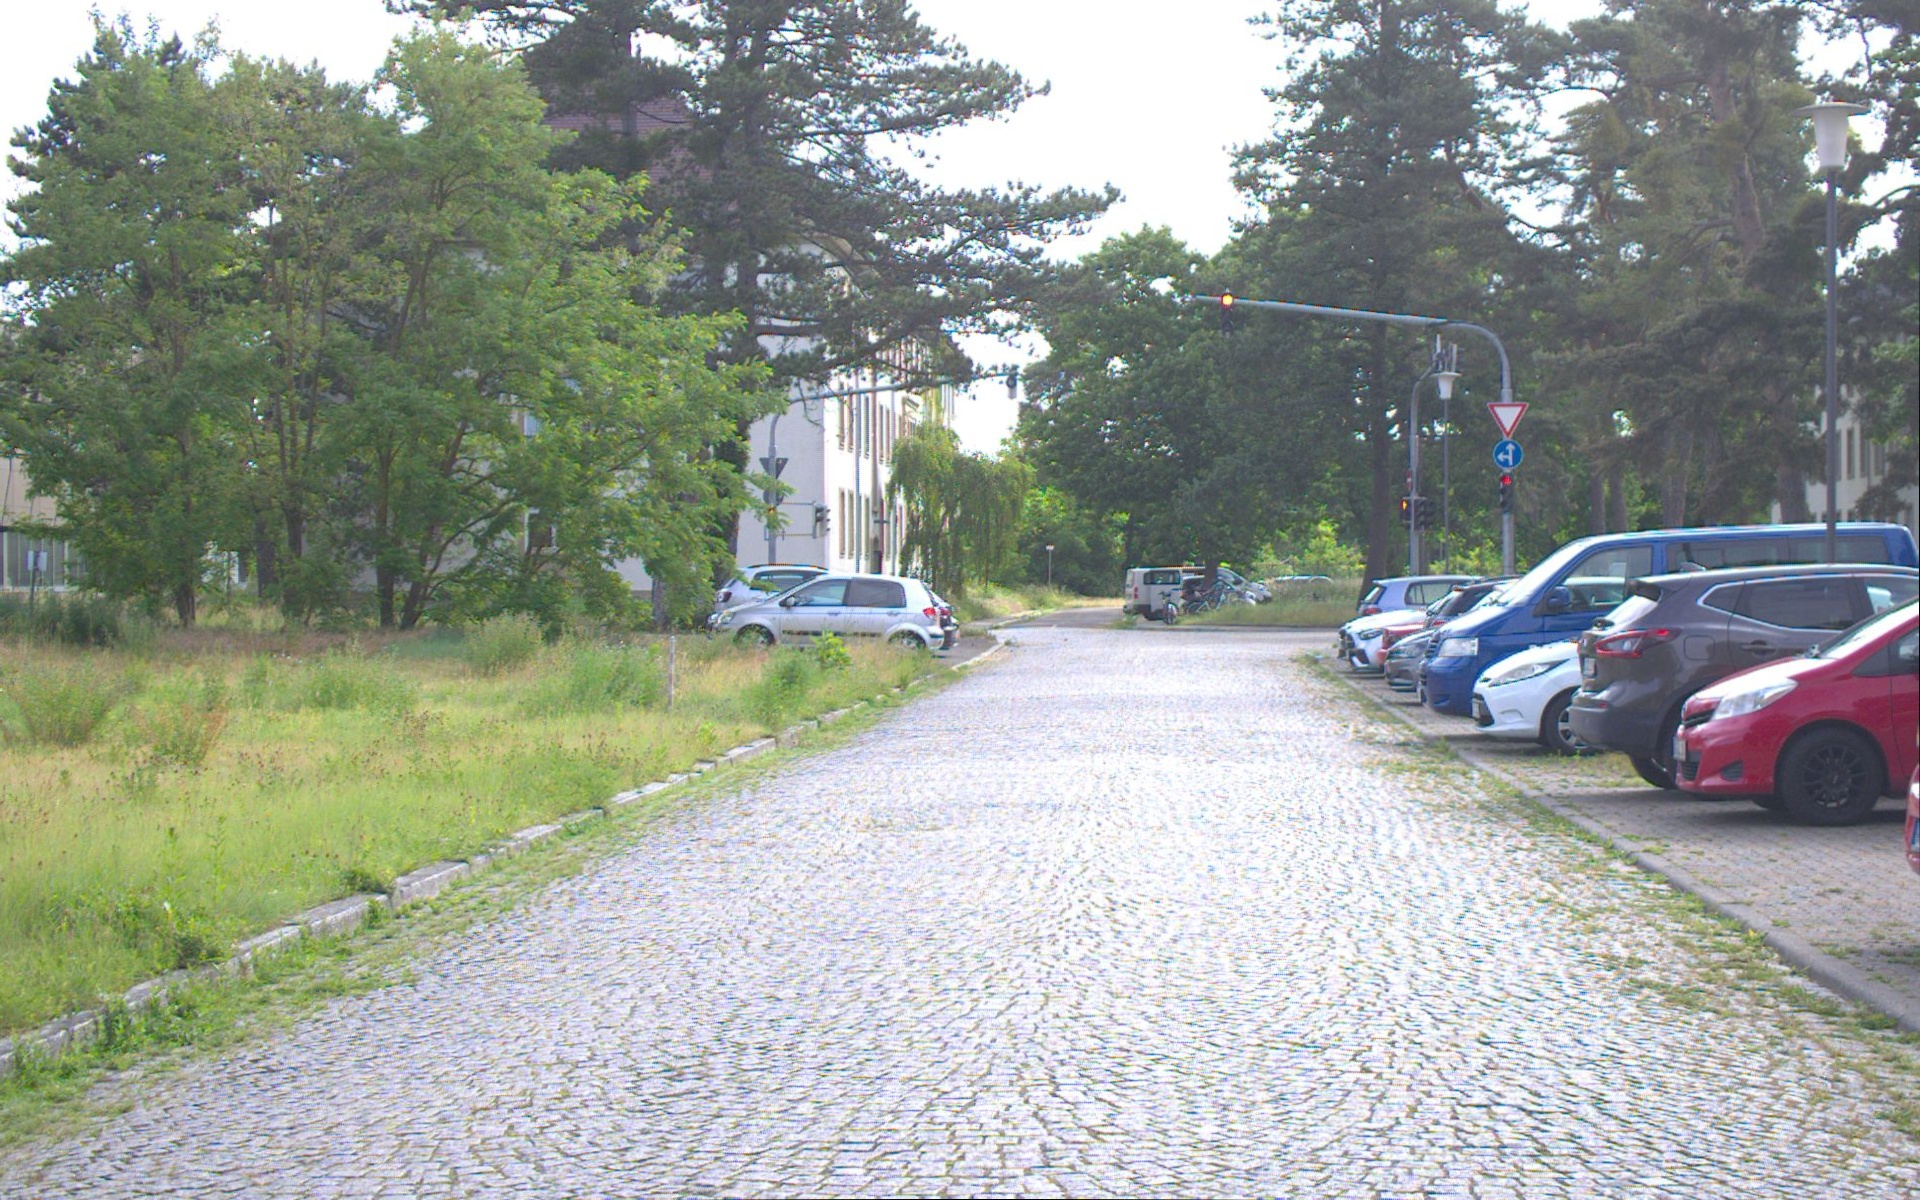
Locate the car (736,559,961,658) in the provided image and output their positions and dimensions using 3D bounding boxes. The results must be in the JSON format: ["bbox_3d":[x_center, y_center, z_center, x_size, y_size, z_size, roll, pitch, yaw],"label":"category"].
[{"bbox_3d":[-2.032,0.146,61.893,3.986,1.744,1.927,0,1,-3],"label":"car"}]

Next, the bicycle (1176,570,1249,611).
[{"bbox_3d":[7.805,-0.292,106.135,2.160,1.264,0.812,0,0,-3],"label":"bicycle"}]

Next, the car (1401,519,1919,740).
[{"bbox_3d":[6.681,0.262,32.688,4.782,2.033,1.738,0,1,2],"label":"car"}]

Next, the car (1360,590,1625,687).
[{"bbox_3d":[7.194,0.511,46.623,3.292,1.263,1.664,0,1,-2],"label":"car"}]

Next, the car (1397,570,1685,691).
[{"bbox_3d":[7.402,0.373,43.980,3.291,1.499,1.664,0,1,-7],"label":"car"}]

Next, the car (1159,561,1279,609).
[{"bbox_3d":[9.027,-0.525,120.041,3.986,1.638,2.000,0,1,-2],"label":"car"}]

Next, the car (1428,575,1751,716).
[{"bbox_3d":[6.923,0.486,38.009,3.292,1.499,1.664,0,1,2],"label":"car"}]

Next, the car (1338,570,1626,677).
[{"bbox_3d":[7.720,0.333,51.083,3.986,1.538,1.664,0,1,-2],"label":"car"}]

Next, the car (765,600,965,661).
[{"bbox_3d":[-1.779,0.555,64.100,3.670,1.090,1.646,0,1,-2],"label":"car"}]

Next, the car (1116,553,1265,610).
[{"bbox_3d":[8.257,-0.671,123.376,5.049,2.007,2.000,0,1,-7],"label":"car"}]

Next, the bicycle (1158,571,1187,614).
[{"bbox_3d":[6.300,-0.225,101.880,0.810,1.264,1.973,0,1,5],"label":"bicycle"}]

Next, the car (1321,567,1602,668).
[{"bbox_3d":[7.833,0.256,53.890,4.122,1.538,1.664,0,1,-2],"label":"car"}]

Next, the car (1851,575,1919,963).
[{"bbox_3d":[5.654,0.627,13.564,3.839,1.500,1.738,-1,1,3],"label":"car"}]

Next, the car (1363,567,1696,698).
[{"bbox_3d":[6.772,0.368,41.044,3.597,1.501,1.664,0,1,-7],"label":"car"}]

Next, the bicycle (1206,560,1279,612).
[{"bbox_3d":[8.777,-0.446,106.781,2.160,1.610,0.812,0,0,-3],"label":"bicycle"}]

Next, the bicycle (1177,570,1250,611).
[{"bbox_3d":[7.774,-0.293,105.549,2.160,1.264,0.812,0,0,-3],"label":"bicycle"}]

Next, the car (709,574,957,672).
[{"bbox_3d":[-2.087,0.364,56.360,3.986,1.546,2.000,0,1,-2],"label":"car"}]

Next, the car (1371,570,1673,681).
[{"bbox_3d":[7.947,0.347,48.823,3.986,1.538,1.664,0,1,-2],"label":"car"}]

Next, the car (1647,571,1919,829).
[{"bbox_3d":[6.365,0.584,21.165,3.987,1.513,1.738,0,1,4],"label":"car"}]

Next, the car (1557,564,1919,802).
[{"bbox_3d":[6.246,0.547,23.794,3.950,1.575,1.762,0,1,2],"label":"car"}]

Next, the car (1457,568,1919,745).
[{"bbox_3d":[6.356,0.473,30.212,3.722,1.419,1.654,-1,1,1],"label":"car"}]

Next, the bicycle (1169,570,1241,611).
[{"bbox_3d":[7.640,-0.294,107.362,2.160,1.264,0.812,0,0,-3],"label":"bicycle"}]

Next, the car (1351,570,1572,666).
[{"bbox_3d":[8.213,0.278,56.440,3.388,1.538,1.391,0,1,-2],"label":"car"}]
